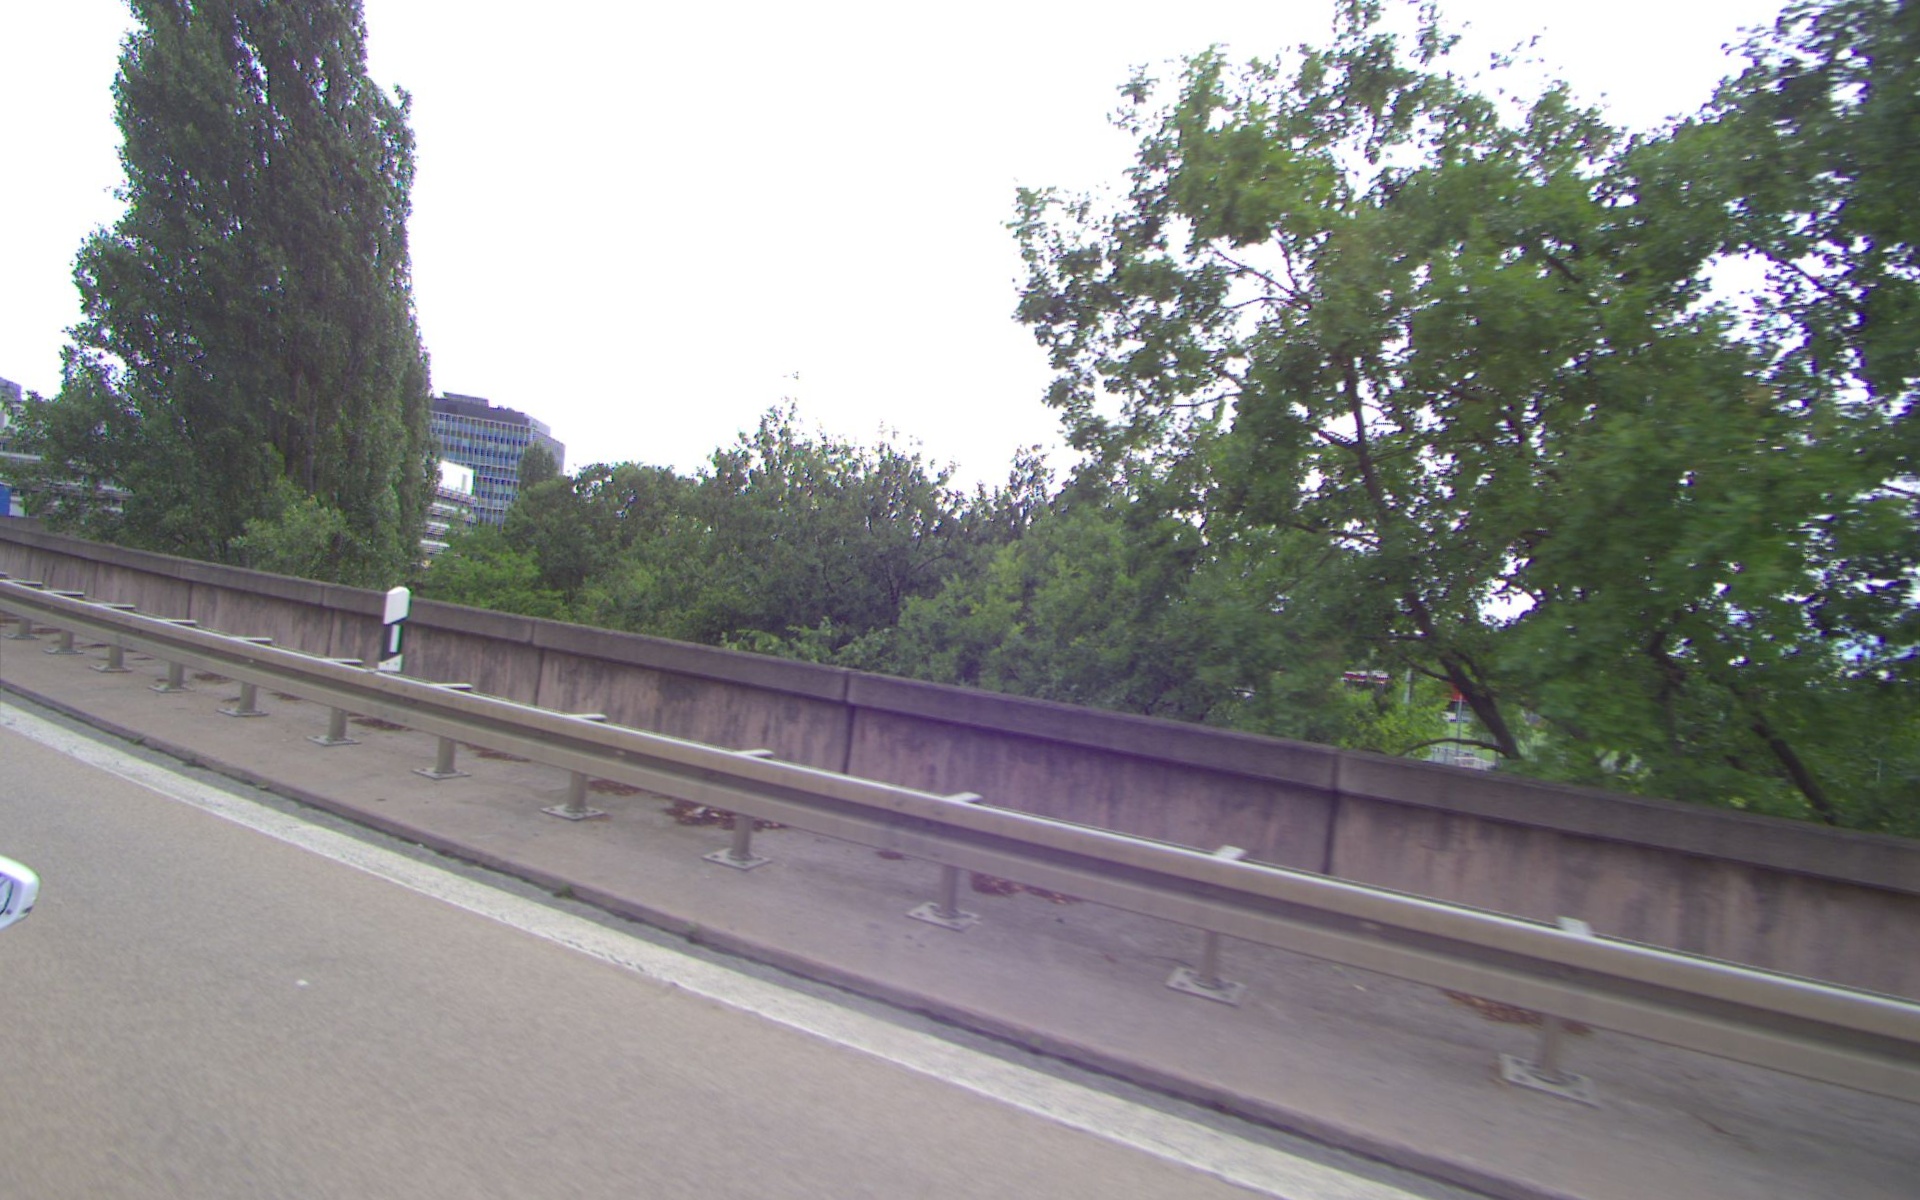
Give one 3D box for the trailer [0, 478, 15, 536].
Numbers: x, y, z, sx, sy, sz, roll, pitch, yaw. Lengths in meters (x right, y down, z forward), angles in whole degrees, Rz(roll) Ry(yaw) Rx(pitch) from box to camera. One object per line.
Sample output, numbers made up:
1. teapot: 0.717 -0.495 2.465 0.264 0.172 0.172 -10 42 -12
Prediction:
1. trailer: -75.927 -7.568 73.022 3.114 4.398 12.518 6 -2 -3
